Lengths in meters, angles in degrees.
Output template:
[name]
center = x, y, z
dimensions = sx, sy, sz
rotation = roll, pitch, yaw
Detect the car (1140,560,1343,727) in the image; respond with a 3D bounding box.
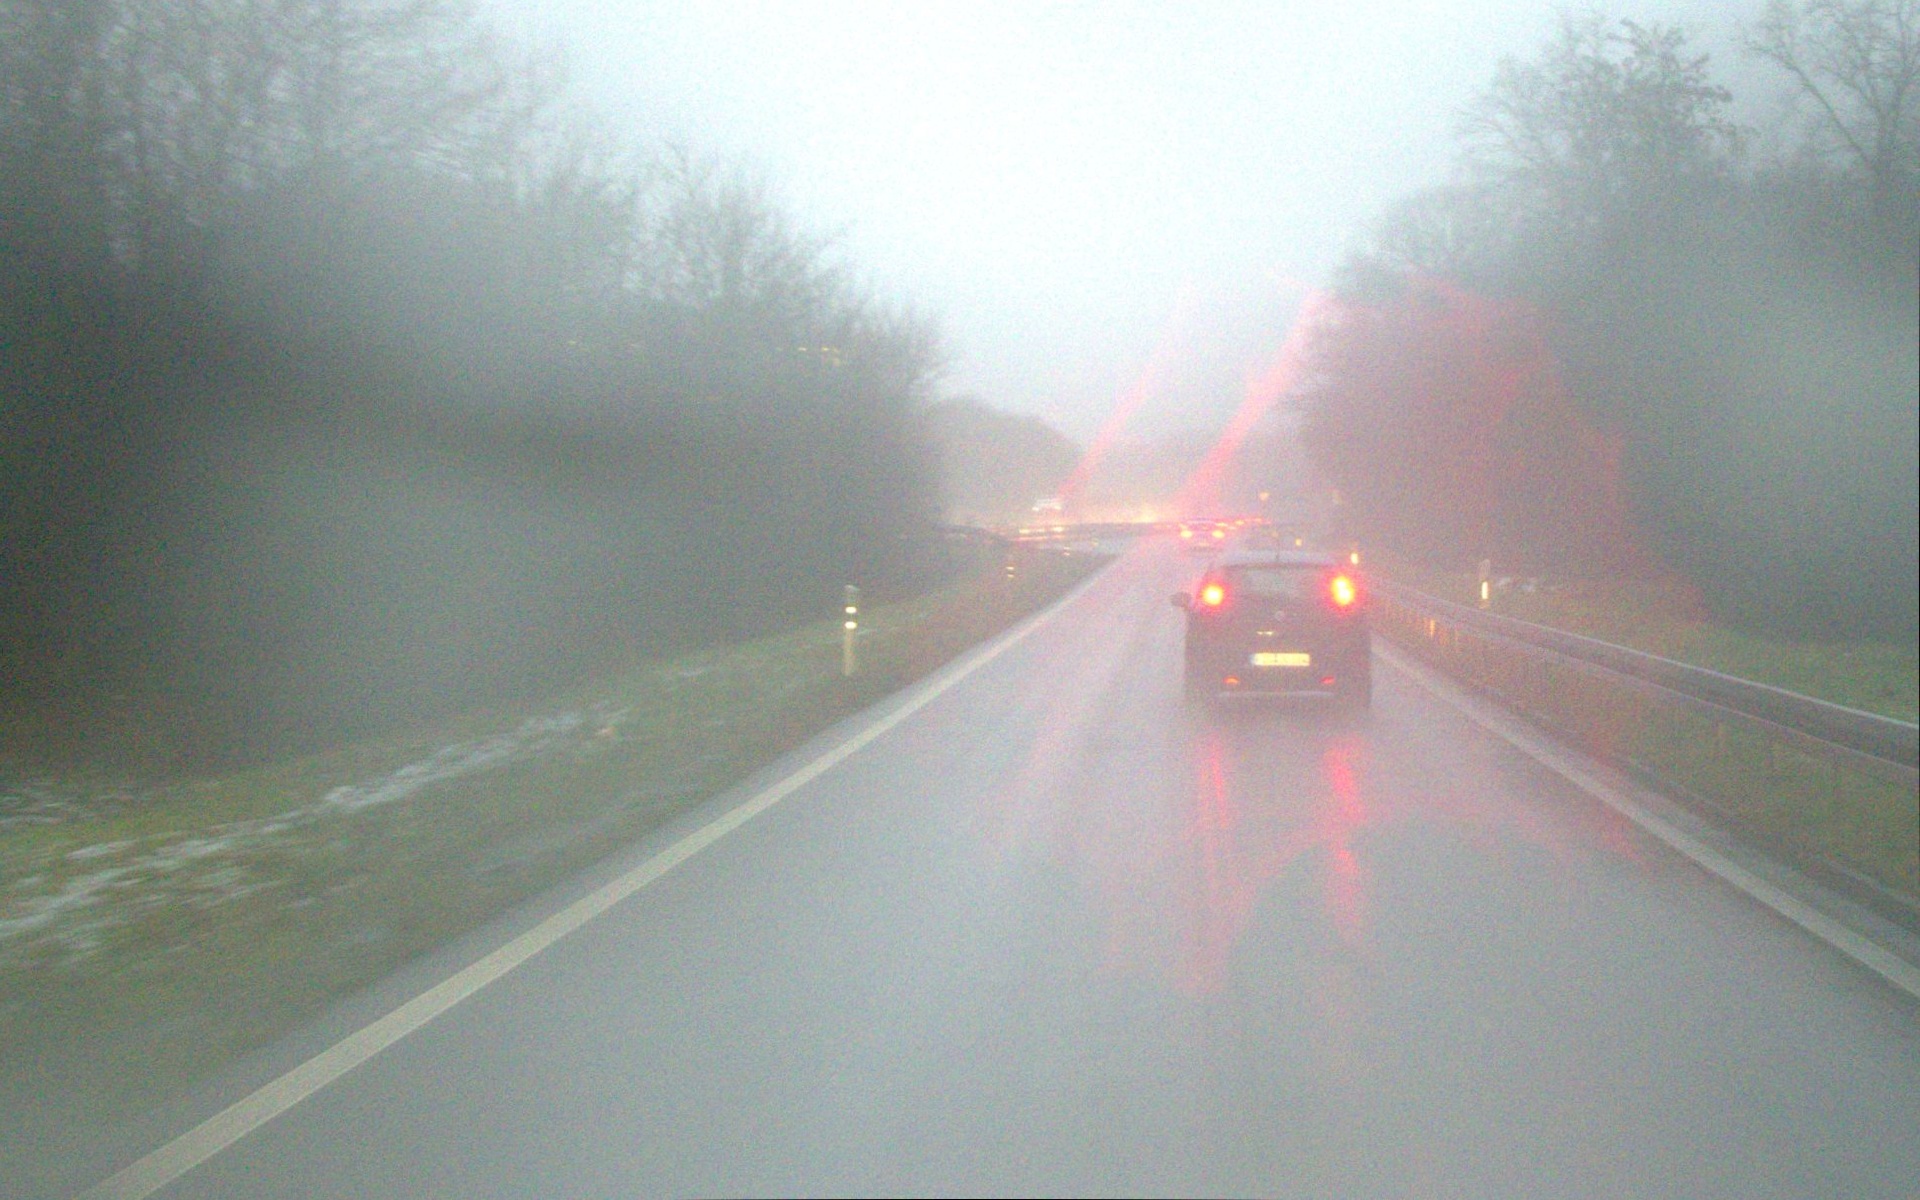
[car]
center = 2.742, 0.385, 32.854
dimensions = 1.732, 1.424, 3.764
rotation = -3, 0, 7
